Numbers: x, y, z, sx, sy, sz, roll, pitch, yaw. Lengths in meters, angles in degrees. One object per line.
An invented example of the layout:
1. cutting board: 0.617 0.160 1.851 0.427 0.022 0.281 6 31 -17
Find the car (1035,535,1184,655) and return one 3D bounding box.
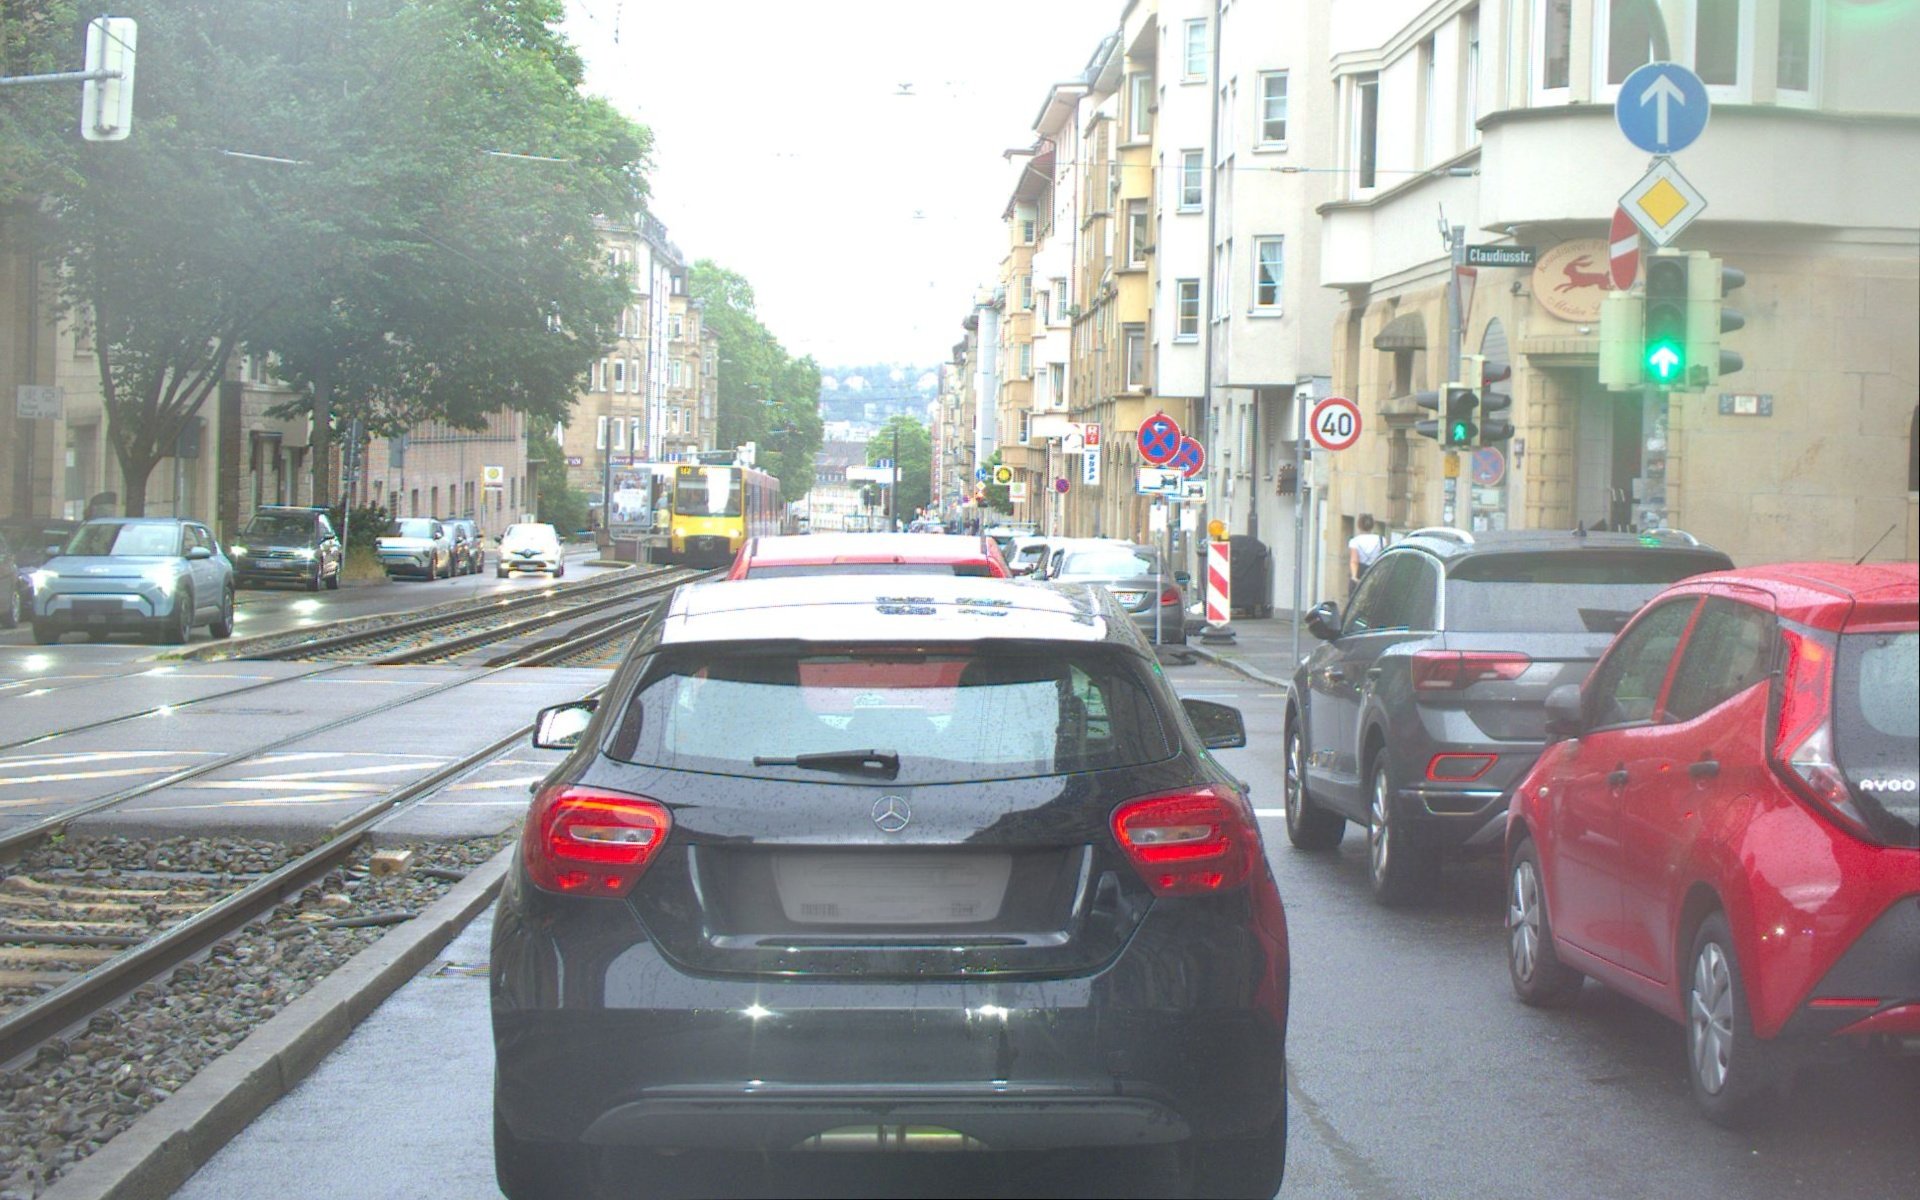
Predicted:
1. car: 1.827 -0.086 43.161 1.711 1.405 4.817 1 1 1

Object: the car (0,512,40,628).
1. car: -13.431 -0.407 45.229 1.689 1.524 4.176 1 1 -2

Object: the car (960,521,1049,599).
1. car: 0.988 -0.857 74.023 1.841 1.602 4.760 1 1 1

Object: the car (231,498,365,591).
1. car: -13.736 -1.195 71.590 1.953 1.736 4.780 4 1 -2

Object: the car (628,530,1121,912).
1. car: -0.378 0.464 16.340 1.993 1.520 4.246 2 1 -1

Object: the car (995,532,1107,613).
1. car: 1.593 -0.494 61.481 1.789 1.381 4.395 1 1 -1

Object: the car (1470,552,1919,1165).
1. car: 2.719 0.617 10.053 1.705 1.448 3.533 2 1 -3

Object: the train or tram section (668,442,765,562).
1. train or tram section: -8.766 -3.531 125.596 2.745 4.048 17.216 1 1 -2

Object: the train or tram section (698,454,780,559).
1. train or tram section: -9.013 -3.840 141.755 2.745 4.048 15.663 1 1 -2

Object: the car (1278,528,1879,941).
1. car: 2.583 0.488 15.325 1.867 1.543 3.991 2 1 -1

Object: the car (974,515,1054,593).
1. car: 1.228 -1.074 80.232 1.778 1.744 4.549 1 1 0

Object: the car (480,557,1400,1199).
1. car: -0.064 0.638 8.889 1.834 1.448 3.902 1 1 -1

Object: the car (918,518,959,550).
1. car: -1.063 -3.301 172.289 1.887 1.520 4.245 2 1 1

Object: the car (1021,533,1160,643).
1. car: 1.791 -0.182 48.528 1.712 1.463 4.774 1 1 -1

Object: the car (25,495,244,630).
1. car: -10.397 -0.470 43.560 1.921 1.612 4.129 1 1 -2

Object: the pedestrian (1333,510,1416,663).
1. pedestrian: 4.644 -0.152 38.552 0.804 1.681 0.754 1 0 -1

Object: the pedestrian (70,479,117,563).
1. pedestrian: -17.263 -1.573 68.483 0.728 1.657 0.771 1 1 -1

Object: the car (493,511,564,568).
1. car: -11.842 -1.647 94.462 1.780 1.497 4.063 1 1 -5

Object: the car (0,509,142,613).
1. car: -13.478 -0.579 50.783 1.780 1.455 4.979 1 1 -2

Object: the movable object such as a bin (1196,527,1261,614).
1. movable object such as a bin: 4.624 -0.509 59.343 0.980 1.463 1.273 1 0 -1

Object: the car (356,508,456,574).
1. car: -14.282 -1.540 88.783 1.961 1.600 4.329 2 2 -2
